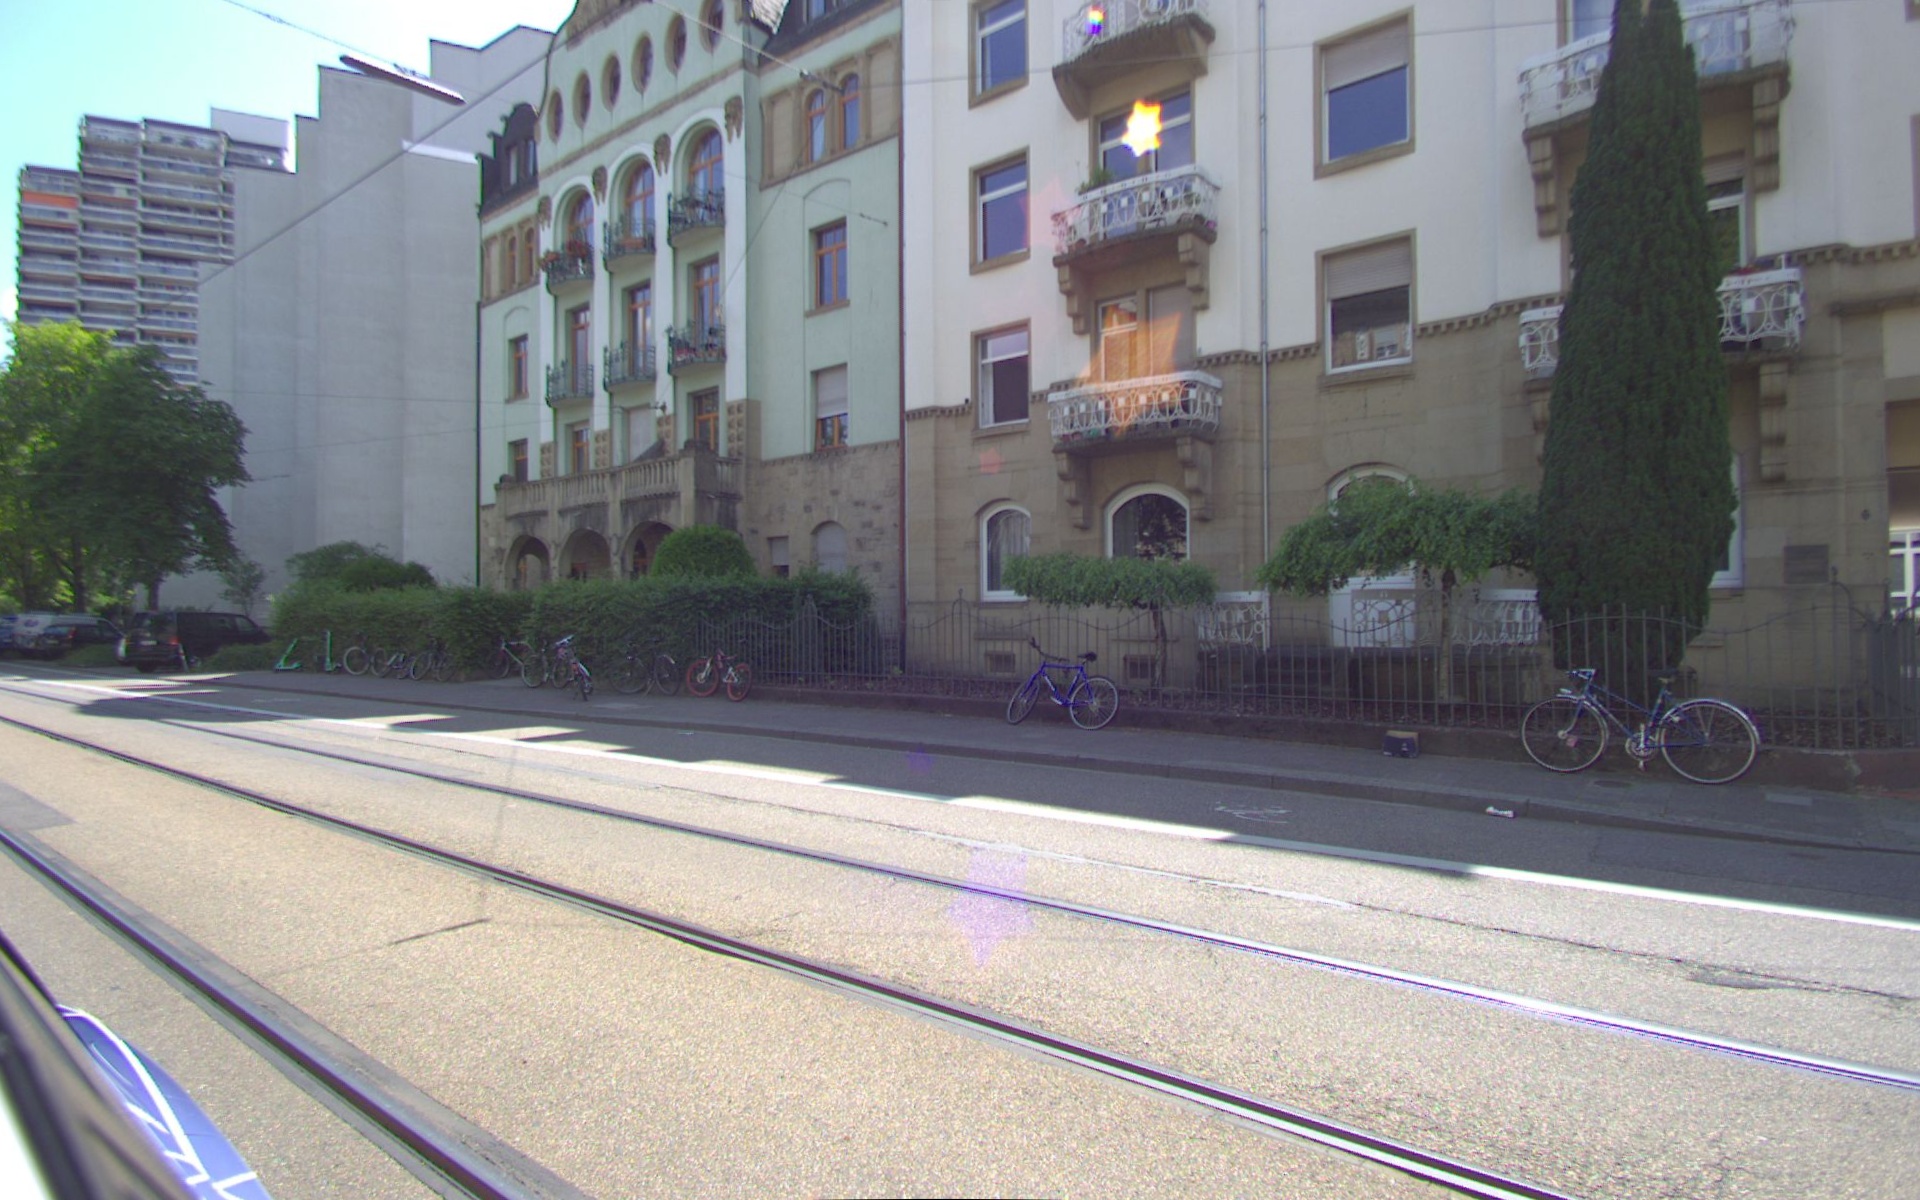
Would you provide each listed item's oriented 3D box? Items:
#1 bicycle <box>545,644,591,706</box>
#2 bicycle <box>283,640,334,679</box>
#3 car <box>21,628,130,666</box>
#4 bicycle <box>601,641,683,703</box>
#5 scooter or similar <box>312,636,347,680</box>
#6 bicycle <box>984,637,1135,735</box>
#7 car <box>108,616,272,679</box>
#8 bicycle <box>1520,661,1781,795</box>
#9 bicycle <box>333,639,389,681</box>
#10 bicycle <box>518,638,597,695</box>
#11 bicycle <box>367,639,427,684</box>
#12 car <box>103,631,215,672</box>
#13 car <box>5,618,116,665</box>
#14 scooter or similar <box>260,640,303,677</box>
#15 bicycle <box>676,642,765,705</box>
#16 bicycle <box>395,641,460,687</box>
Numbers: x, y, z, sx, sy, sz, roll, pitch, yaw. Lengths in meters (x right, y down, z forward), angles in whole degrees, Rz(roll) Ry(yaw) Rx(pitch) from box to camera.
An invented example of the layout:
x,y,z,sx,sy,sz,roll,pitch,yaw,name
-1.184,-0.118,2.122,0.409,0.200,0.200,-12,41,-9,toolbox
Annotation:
x,y,z,sx,sy,sz,roll,pitch,yaw,name
-6.866,1.291,17.784,0.599,1.007,1.780,0,-2,-16,bicycle
-17.926,1.623,27.840,1.705,0.996,0.602,-2,2,38,bicycle
-38.197,1.994,43.806,1.657,1.587,3.688,0,-1,-4,car
-5.591,1.235,17.757,1.706,1.006,0.460,-2,2,39,bicycle
-16.694,1.519,26.785,1.290,1.128,0.401,-2,-2,41,scooter or similar
1.199,1.023,12.452,1.769,1.072,0.602,-2,2,38,bicycle
-25.487,1.535,33.755,1.935,1.940,4.584,0,-1,1,car
5.932,1.060,8.781,1.839,0.968,0.406,0,2,39,bicycle
-15.245,1.519,25.736,1.705,0.996,0.602,-2,2,38,bicycle
-7.935,1.288,19.910,1.769,1.040,0.602,-2,2,38,bicycle
-13.541,1.471,24.315,1.705,0.996,0.602,-2,2,38,bicycle
-30.301,1.906,38.415,1.699,1.465,3.633,0,-1,-8,car
-40.860,1.860,46.095,1.579,2.058,4.054,0,-1,-2,car
-19.392,1.670,28.922,1.216,1.028,0.404,-1,-2,23,scooter or similar
-3.968,1.191,16.697,1.723,0.973,0.409,-2,1,39,bicycle
-12.148,1.441,23.078,1.769,0.983,0.602,-2,2,38,bicycle
